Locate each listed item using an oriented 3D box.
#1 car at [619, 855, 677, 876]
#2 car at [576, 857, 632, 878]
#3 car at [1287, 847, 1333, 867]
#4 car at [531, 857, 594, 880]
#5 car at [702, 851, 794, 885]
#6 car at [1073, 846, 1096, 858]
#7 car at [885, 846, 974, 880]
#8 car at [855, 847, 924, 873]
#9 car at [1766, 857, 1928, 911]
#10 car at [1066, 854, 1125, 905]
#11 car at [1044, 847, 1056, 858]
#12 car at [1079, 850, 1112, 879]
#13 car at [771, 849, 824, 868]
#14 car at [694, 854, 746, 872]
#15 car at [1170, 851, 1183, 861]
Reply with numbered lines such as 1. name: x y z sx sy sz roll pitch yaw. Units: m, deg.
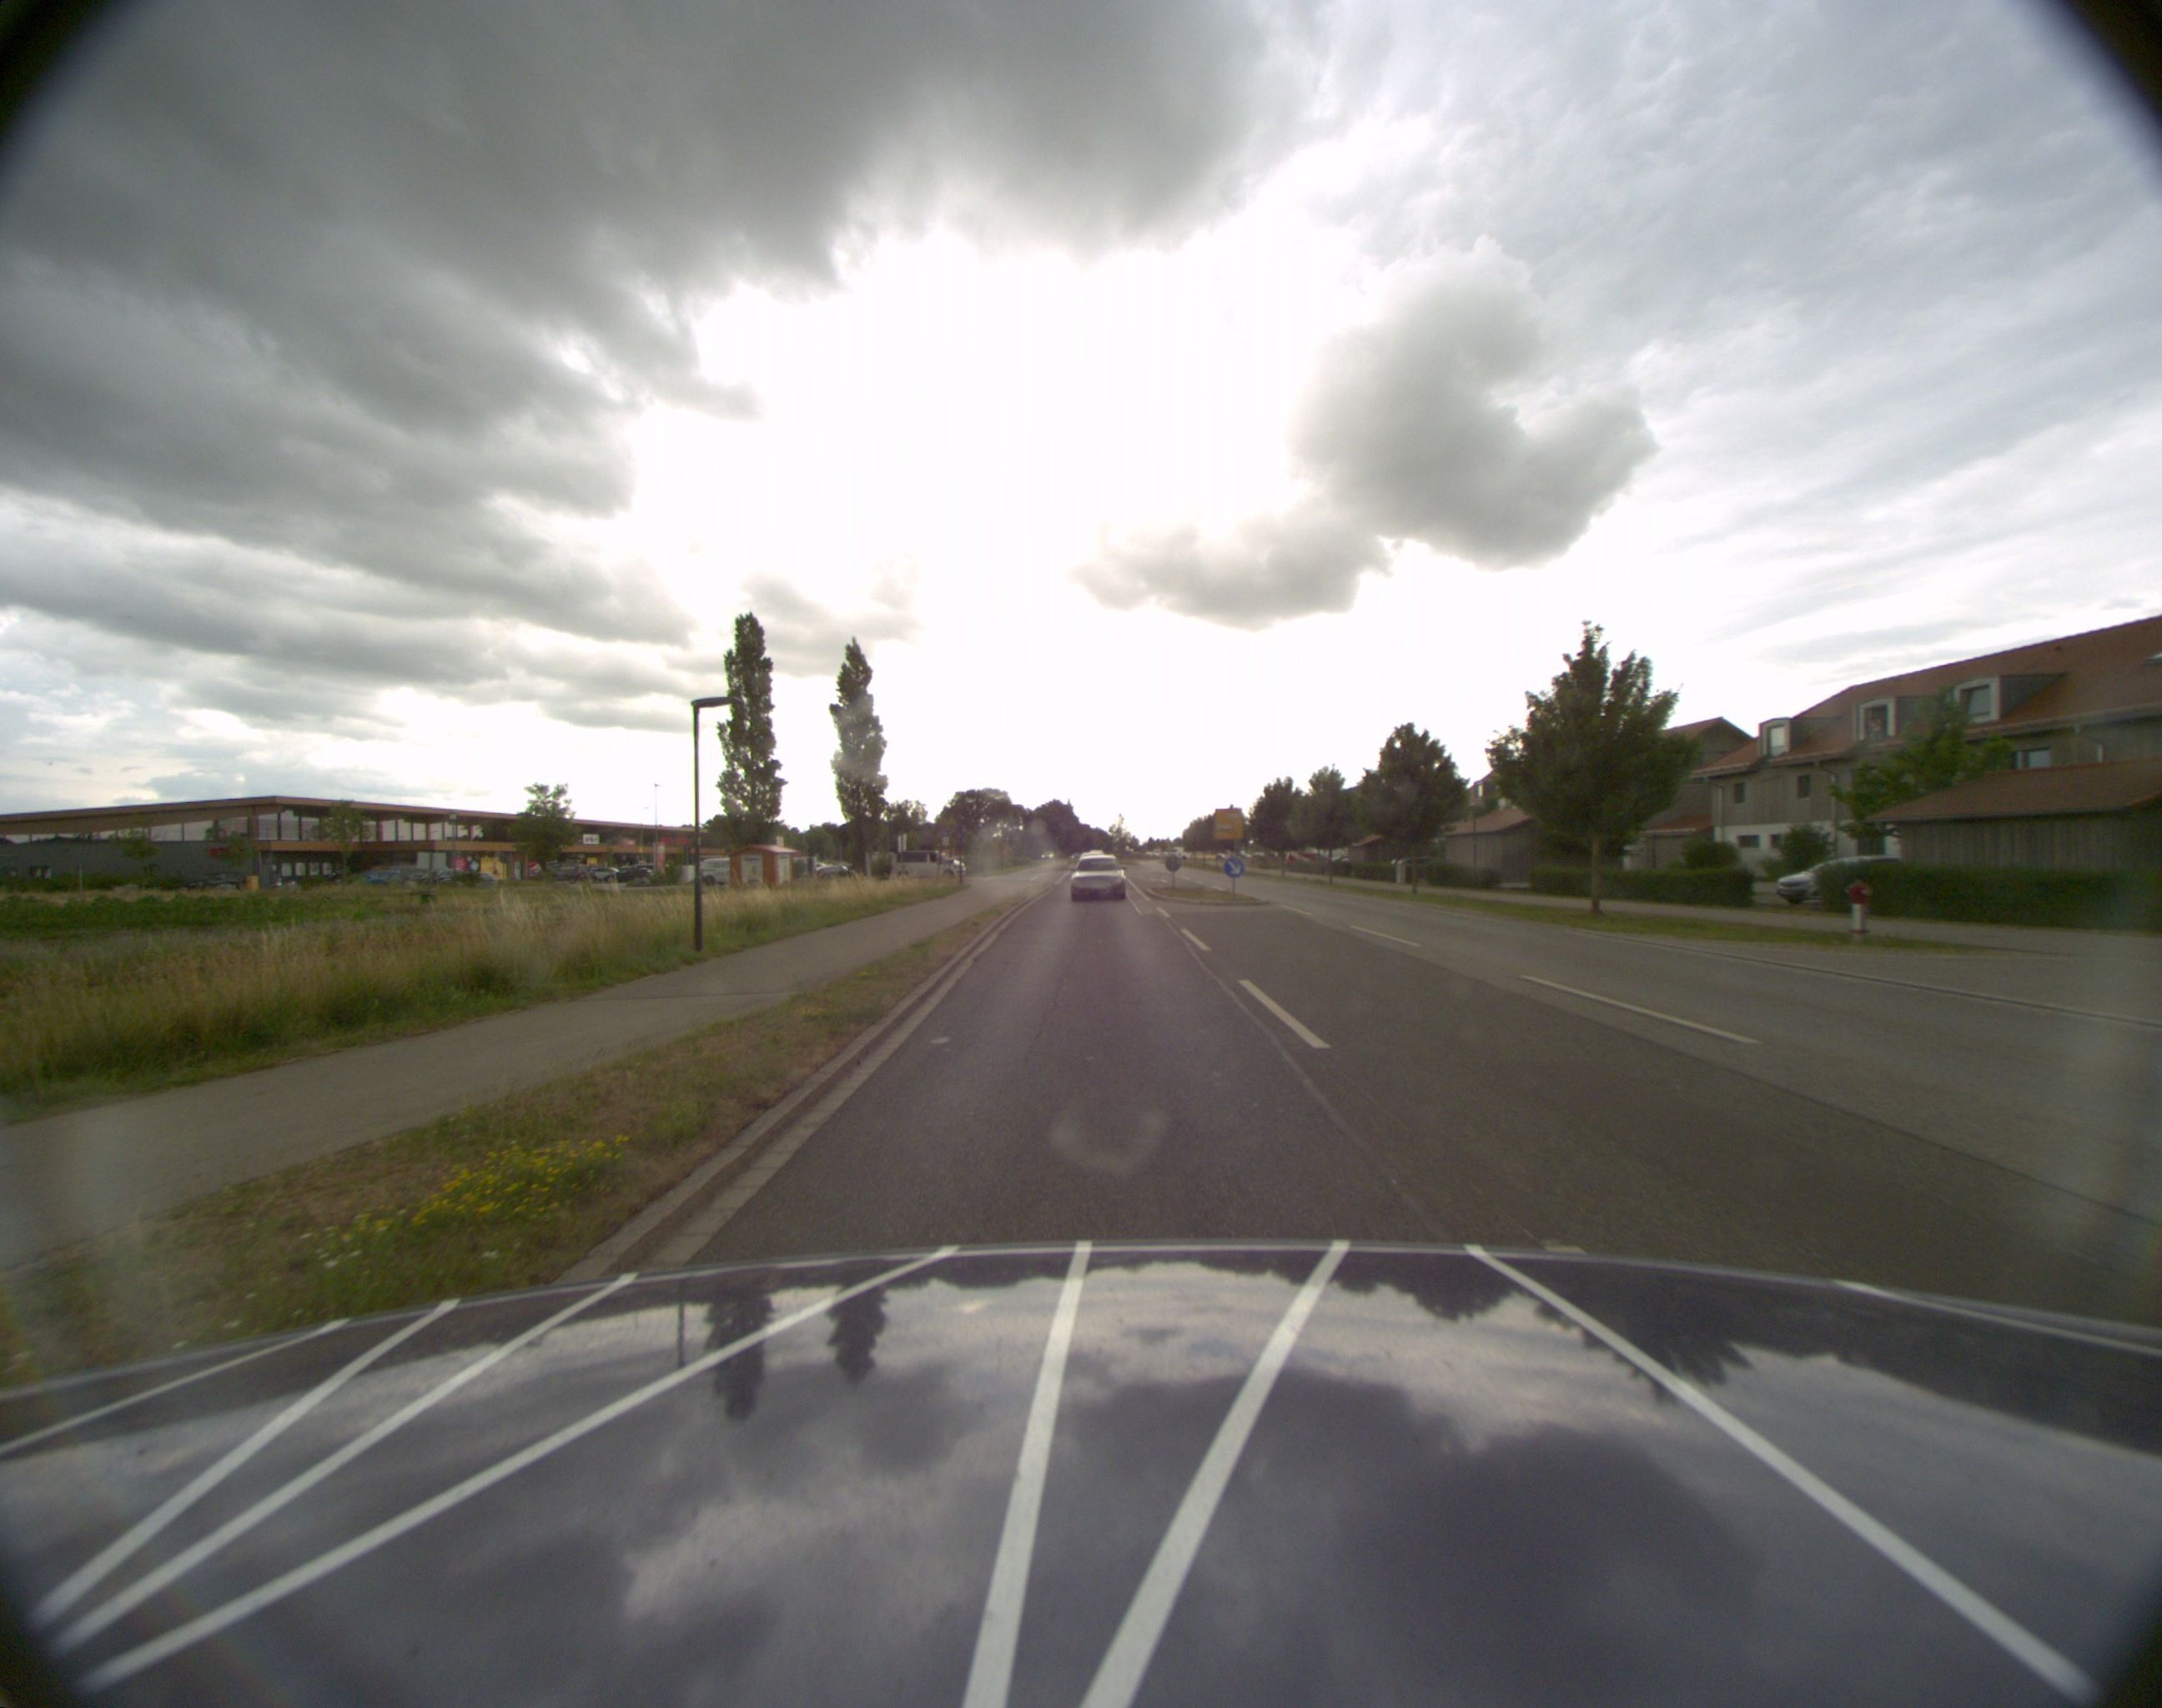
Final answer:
1. car: -46.304 1.200 81.376 4.857 2.002 1.998 -3 1 -6
2. car: -52.977 1.452 84.467 4.857 2.002 1.998 -3 1 -6
3. car: 25.823 0.300 85.797 4.568 2.002 2.000 -2 1 6
4. car: -52.868 1.461 77.575 4.857 2.002 1.998 -3 1 -6
5. car: -22.750 0.954 52.041 5.313 2.002 2.000 -3 1 2
6. car: 0.594 -0.364 132.609 1.795 2.002 4.455 -3 1 -33
7. car: -10.152 0.595 51.198 5.313 2.002 2.562 -3 1 2
8. car: -16.853 0.549 67.105 5.526 2.002 1.999 -3 1 -5
9. car: 23.360 0.885 23.246 3.592 1.431 1.301 -3 1 1
10. car: 0.560 0.795 25.663 1.762 1.410 4.520 -3 1 3
11. car: -6.032 -0.256 149.149 1.998 2.002 4.000 -1 0 1
12. car: 0.827 0.559 44.241 1.763 1.495 4.690 -3 1 1
13. car: -33.922 0.491 91.129 5.526 2.002 1.999 -3 1 -5
14. car: -45.806 1.168 96.578 5.526 2.002 1.999 -3 1 -5
15. car: 20.159 0.416 160.740 1.999 1.773 3.997 -3 1 -5
